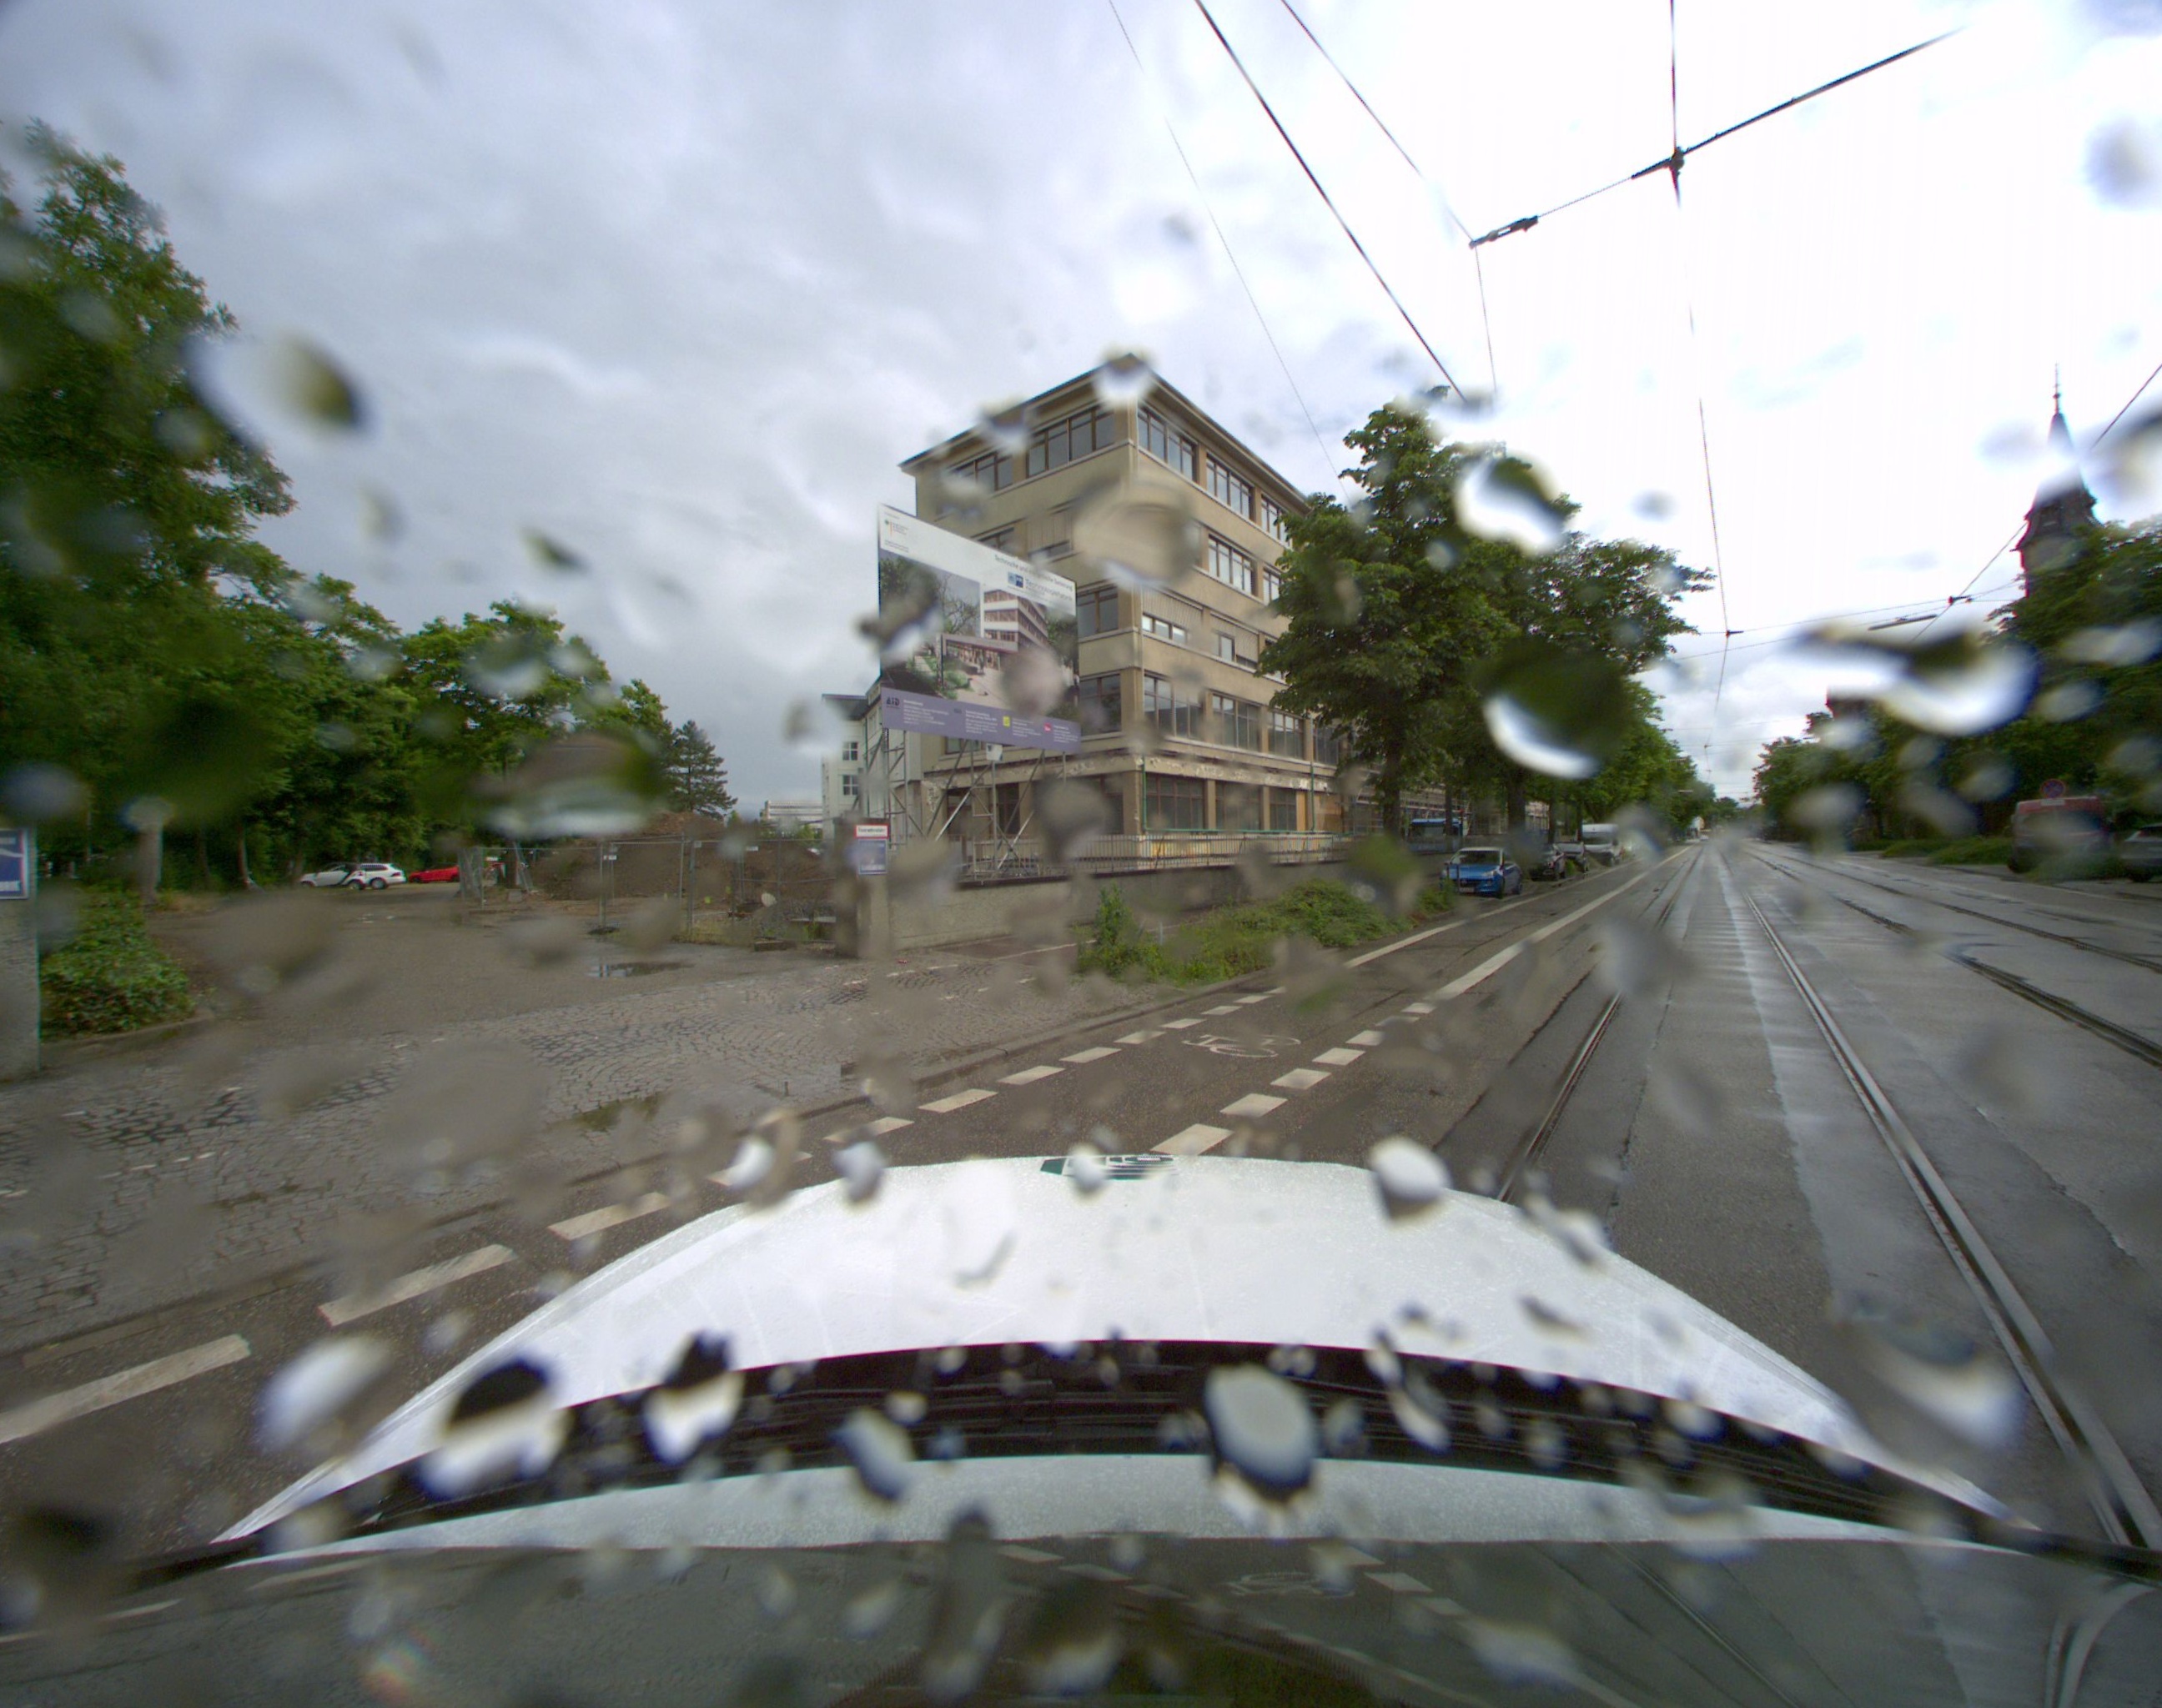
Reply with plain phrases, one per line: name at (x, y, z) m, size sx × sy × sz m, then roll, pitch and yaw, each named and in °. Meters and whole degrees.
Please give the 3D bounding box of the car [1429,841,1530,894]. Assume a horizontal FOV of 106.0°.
car at (12.041, 0.353, 24.475) m, size 1.866 × 1.470 × 4.025 m, roll 1°, pitch 1°, yaw 39°

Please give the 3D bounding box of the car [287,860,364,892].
car at (-39.786, 1.127, 42.947) m, size 2.775 × 1.484 × 1.575 m, roll -2°, pitch 2°, yaw -37°

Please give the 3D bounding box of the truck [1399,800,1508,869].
truck at (21.370, -1.034, 46.252) m, size 3.201 × 3.527 × 9.973 m, roll 1°, pitch 1°, yaw 39°

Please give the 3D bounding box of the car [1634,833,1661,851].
car at (57.562, -1.210, 82.716) m, size 1.840 × 1.742 × 4.025 m, roll 1°, pitch 1°, yaw 40°

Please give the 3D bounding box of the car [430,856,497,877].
car at (-48.027, 0.939, 63.431) m, size 3.810 × 1.529 × 1.894 m, roll 0°, pitch 1°, yaw -24°

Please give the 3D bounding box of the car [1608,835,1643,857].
car at (43.604, -0.646, 65.206) m, size 1.840 × 1.742 × 4.025 m, roll 1°, pitch 1°, yaw 40°

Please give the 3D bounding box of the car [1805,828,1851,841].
car at (95.514, -2.451, 104.187) m, size 4.244 × 1.651 × 2.012 m, roll 1°, pitch 1°, yaw 43°

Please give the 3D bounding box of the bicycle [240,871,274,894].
bicycle at (-33.350, 1.161, 32.974) m, size 0.477 × 0.860 × 1.444 m, roll 0°, pitch 1°, yaw -23°

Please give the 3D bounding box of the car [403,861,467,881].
car at (-46.636, 1.209, 58.872) m, size 3.296 × 1.425 × 1.581 m, roll 0°, pitch 1°, yaw -22°

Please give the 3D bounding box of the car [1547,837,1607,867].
car at (25.086, -0.140, 41.104) m, size 1.795 × 1.470 × 4.096 m, roll 1°, pitch 2°, yaw 43°

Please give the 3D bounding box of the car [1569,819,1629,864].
car at (30.573, -0.716, 47.986) m, size 2.563 × 2.474 × 6.192 m, roll 1°, pitch 1°, yaw 36°

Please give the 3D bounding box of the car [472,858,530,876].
car at (-52.351, 1.134, 73.556) m, size 4.009 × 1.560 × 1.748 m, roll 0°, pitch 1°, yaw -28°

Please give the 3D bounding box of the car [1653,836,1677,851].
car at (65.849, -1.206, 91.856) m, size 1.840 × 1.638 × 4.025 m, roll 1°, pitch 1°, yaw 40°

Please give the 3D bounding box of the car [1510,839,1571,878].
car at (18.720, 0.138, 33.106) m, size 1.866 × 1.470 × 4.025 m, roll 1°, pitch 1°, yaw 33°

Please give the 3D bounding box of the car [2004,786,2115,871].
car at (33.495, -0.875, 27.834) m, size 5.510 × 2.633 × 2.276 m, roll -2°, pitch 2°, yaw -38°

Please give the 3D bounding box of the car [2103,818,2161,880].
car at (29.740, -0.211, 21.403) m, size 4.030 × 1.565 × 1.781 m, roll -3°, pitch 1°, yaw -8°

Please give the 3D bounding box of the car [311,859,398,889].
car at (-40.355, 1.089, 45.351) m, size 3.459 × 1.468 × 1.721 m, roll -2°, pitch 2°, yaw -37°
